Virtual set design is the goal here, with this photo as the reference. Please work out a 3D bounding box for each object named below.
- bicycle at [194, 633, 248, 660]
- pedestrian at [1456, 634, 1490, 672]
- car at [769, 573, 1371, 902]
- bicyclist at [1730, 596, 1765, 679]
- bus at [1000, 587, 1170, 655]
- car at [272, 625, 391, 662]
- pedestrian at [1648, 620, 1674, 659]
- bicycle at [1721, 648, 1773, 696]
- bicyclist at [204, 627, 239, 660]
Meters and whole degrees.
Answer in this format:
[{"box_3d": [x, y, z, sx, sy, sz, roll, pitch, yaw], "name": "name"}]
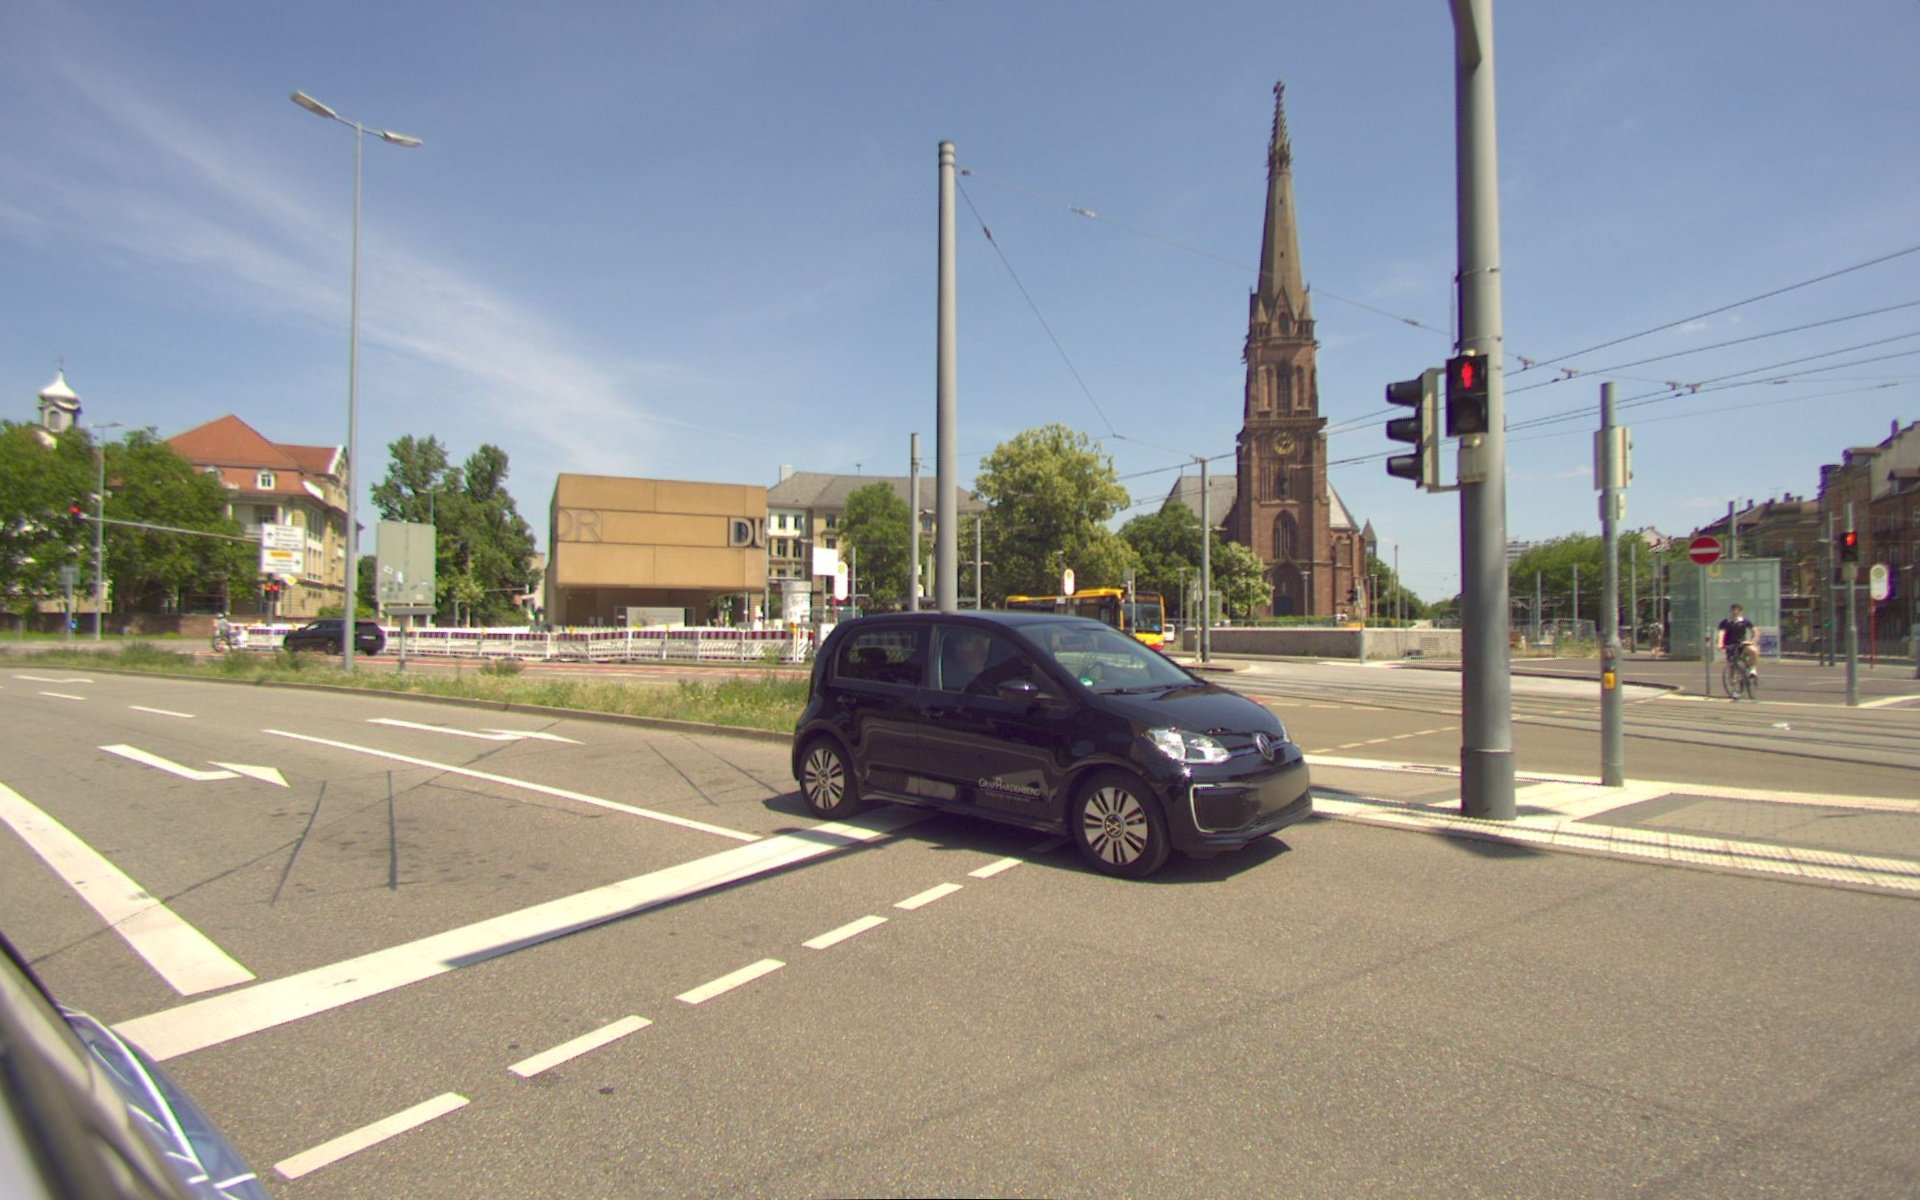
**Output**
[{"box_3d": [-31.527, 1.954, 43.168, 2.219, 1.080, 0.872, 0, 0, 25], "name": "bicycle"}, {"box_3d": [18.504, 1.890, 36.547, 0.518, 1.344, 1.001, 1, -2, -19], "name": "pedestrian"}, {"box_3d": [0.548, 0.693, 6.807, 3.737, 1.588, 1.725, -1, -1, 43], "name": "car"}, {"box_3d": [15.262, 0.707, 19.614, 0.438, 1.541, 1.236, 0, 0, 42], "name": "bicyclist"}, {"box_3d": [5.898, 1.146, 51.319, 2.807, 3.039, 12.260, 1, -2, -23], "name": "bus"}, {"box_3d": [-25.787, 1.757, 41.490, 4.822, 1.476, 1.981, -1, -2, 28], "name": "car"}, {"box_3d": [33.247, 1.884, 48.006, 0.674, 1.827, 1.126, -1, -2, 16], "name": "pedestrian"}, {"box_3d": [15.247, 1.376, 19.587, 0.628, 0.861, 1.873, -2, -3, 42], "name": "bicycle"}, {"box_3d": [-31.477, 1.829, 43.136, 1.431, 1.366, 0.582, 0, 0, 25], "name": "bicyclist"}]
